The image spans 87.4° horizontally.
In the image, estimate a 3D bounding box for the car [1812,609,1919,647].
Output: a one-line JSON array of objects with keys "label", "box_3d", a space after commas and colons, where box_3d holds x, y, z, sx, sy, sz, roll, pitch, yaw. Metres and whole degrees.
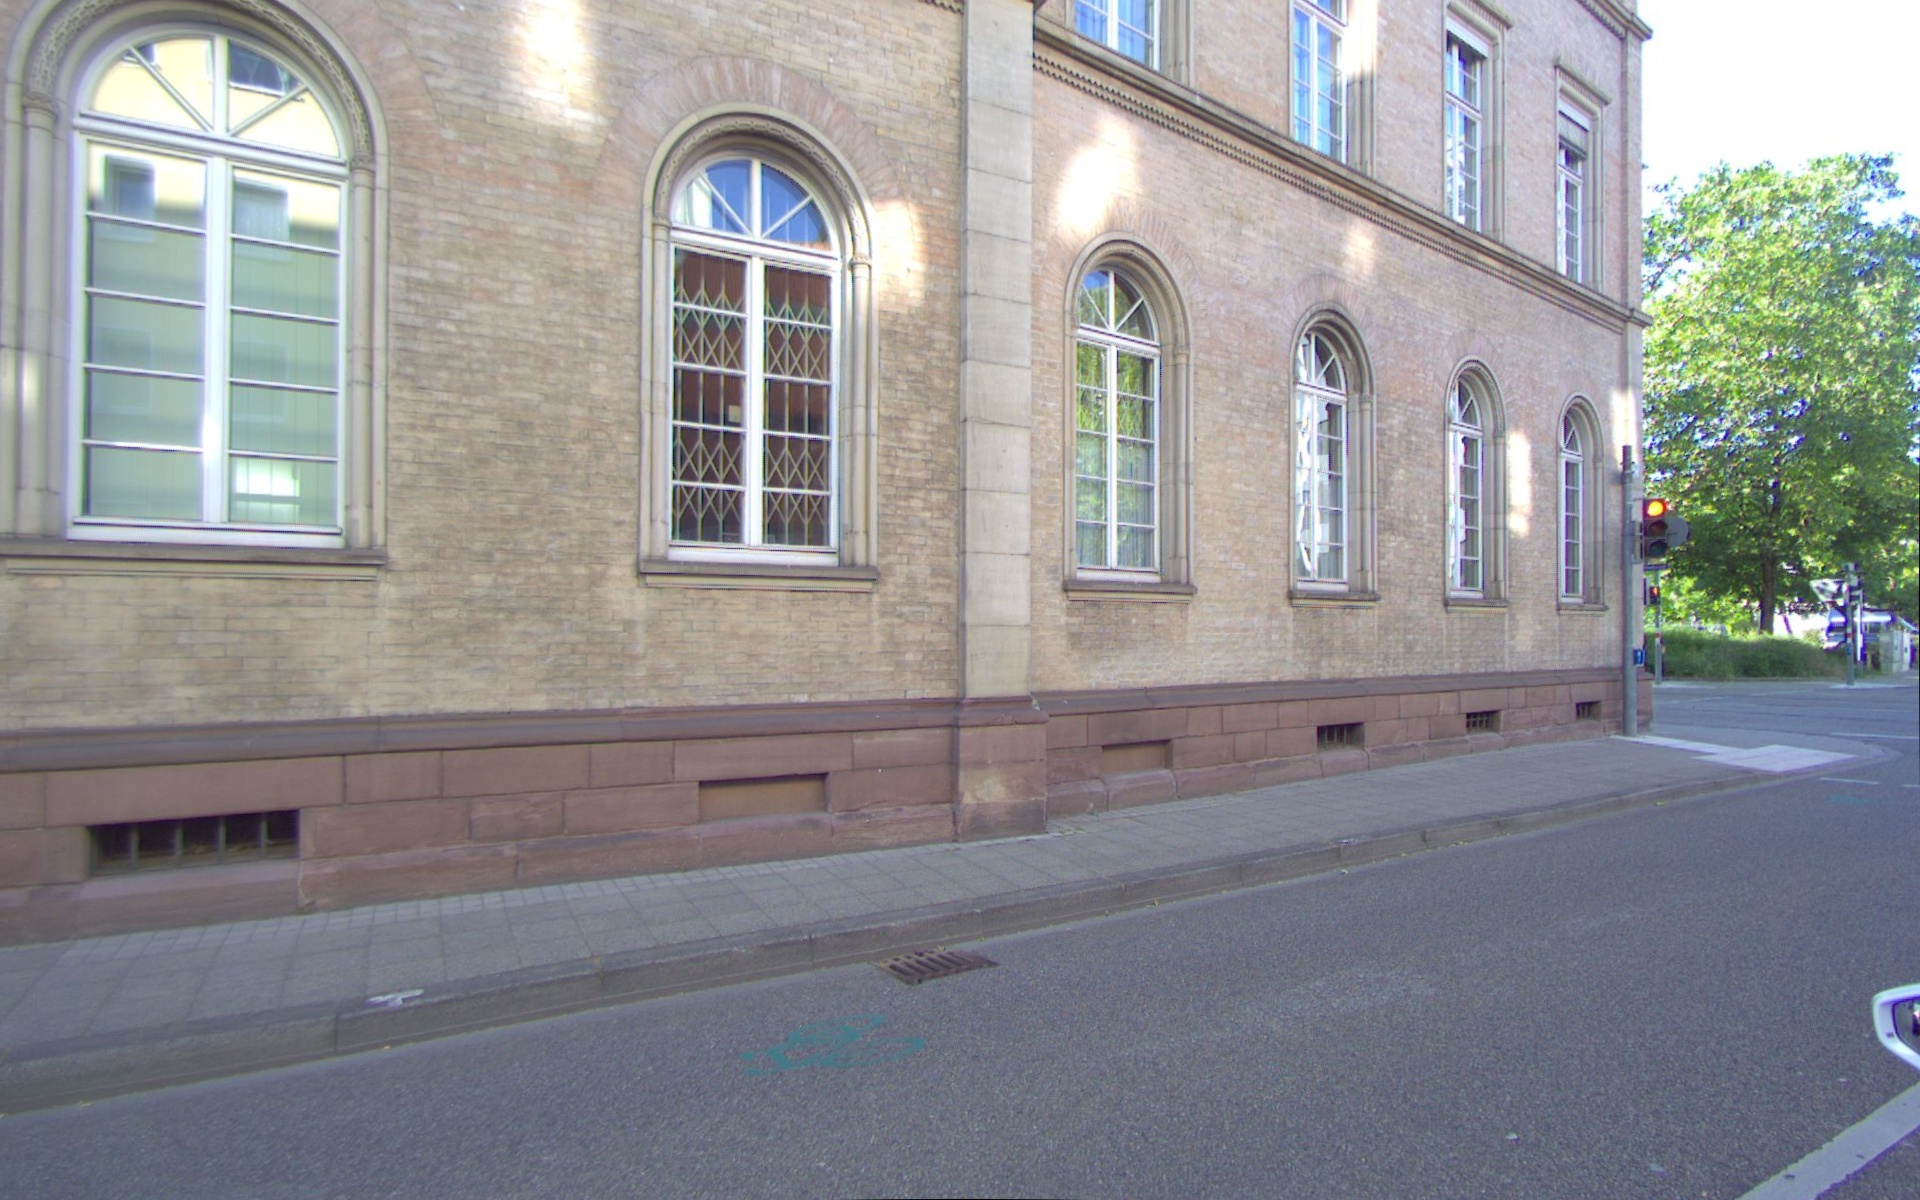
[{"label": "car", "box_3d": [53.489, 1.618, 59.378, 1.983, 2.040, 4.409, 2, 0, -38]}]

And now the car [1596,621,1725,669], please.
[{"label": "car", "box_3d": [24.367, 1.523, 35.018, 1.636, 1.476, 3.382, 2, 0, -39]}]
